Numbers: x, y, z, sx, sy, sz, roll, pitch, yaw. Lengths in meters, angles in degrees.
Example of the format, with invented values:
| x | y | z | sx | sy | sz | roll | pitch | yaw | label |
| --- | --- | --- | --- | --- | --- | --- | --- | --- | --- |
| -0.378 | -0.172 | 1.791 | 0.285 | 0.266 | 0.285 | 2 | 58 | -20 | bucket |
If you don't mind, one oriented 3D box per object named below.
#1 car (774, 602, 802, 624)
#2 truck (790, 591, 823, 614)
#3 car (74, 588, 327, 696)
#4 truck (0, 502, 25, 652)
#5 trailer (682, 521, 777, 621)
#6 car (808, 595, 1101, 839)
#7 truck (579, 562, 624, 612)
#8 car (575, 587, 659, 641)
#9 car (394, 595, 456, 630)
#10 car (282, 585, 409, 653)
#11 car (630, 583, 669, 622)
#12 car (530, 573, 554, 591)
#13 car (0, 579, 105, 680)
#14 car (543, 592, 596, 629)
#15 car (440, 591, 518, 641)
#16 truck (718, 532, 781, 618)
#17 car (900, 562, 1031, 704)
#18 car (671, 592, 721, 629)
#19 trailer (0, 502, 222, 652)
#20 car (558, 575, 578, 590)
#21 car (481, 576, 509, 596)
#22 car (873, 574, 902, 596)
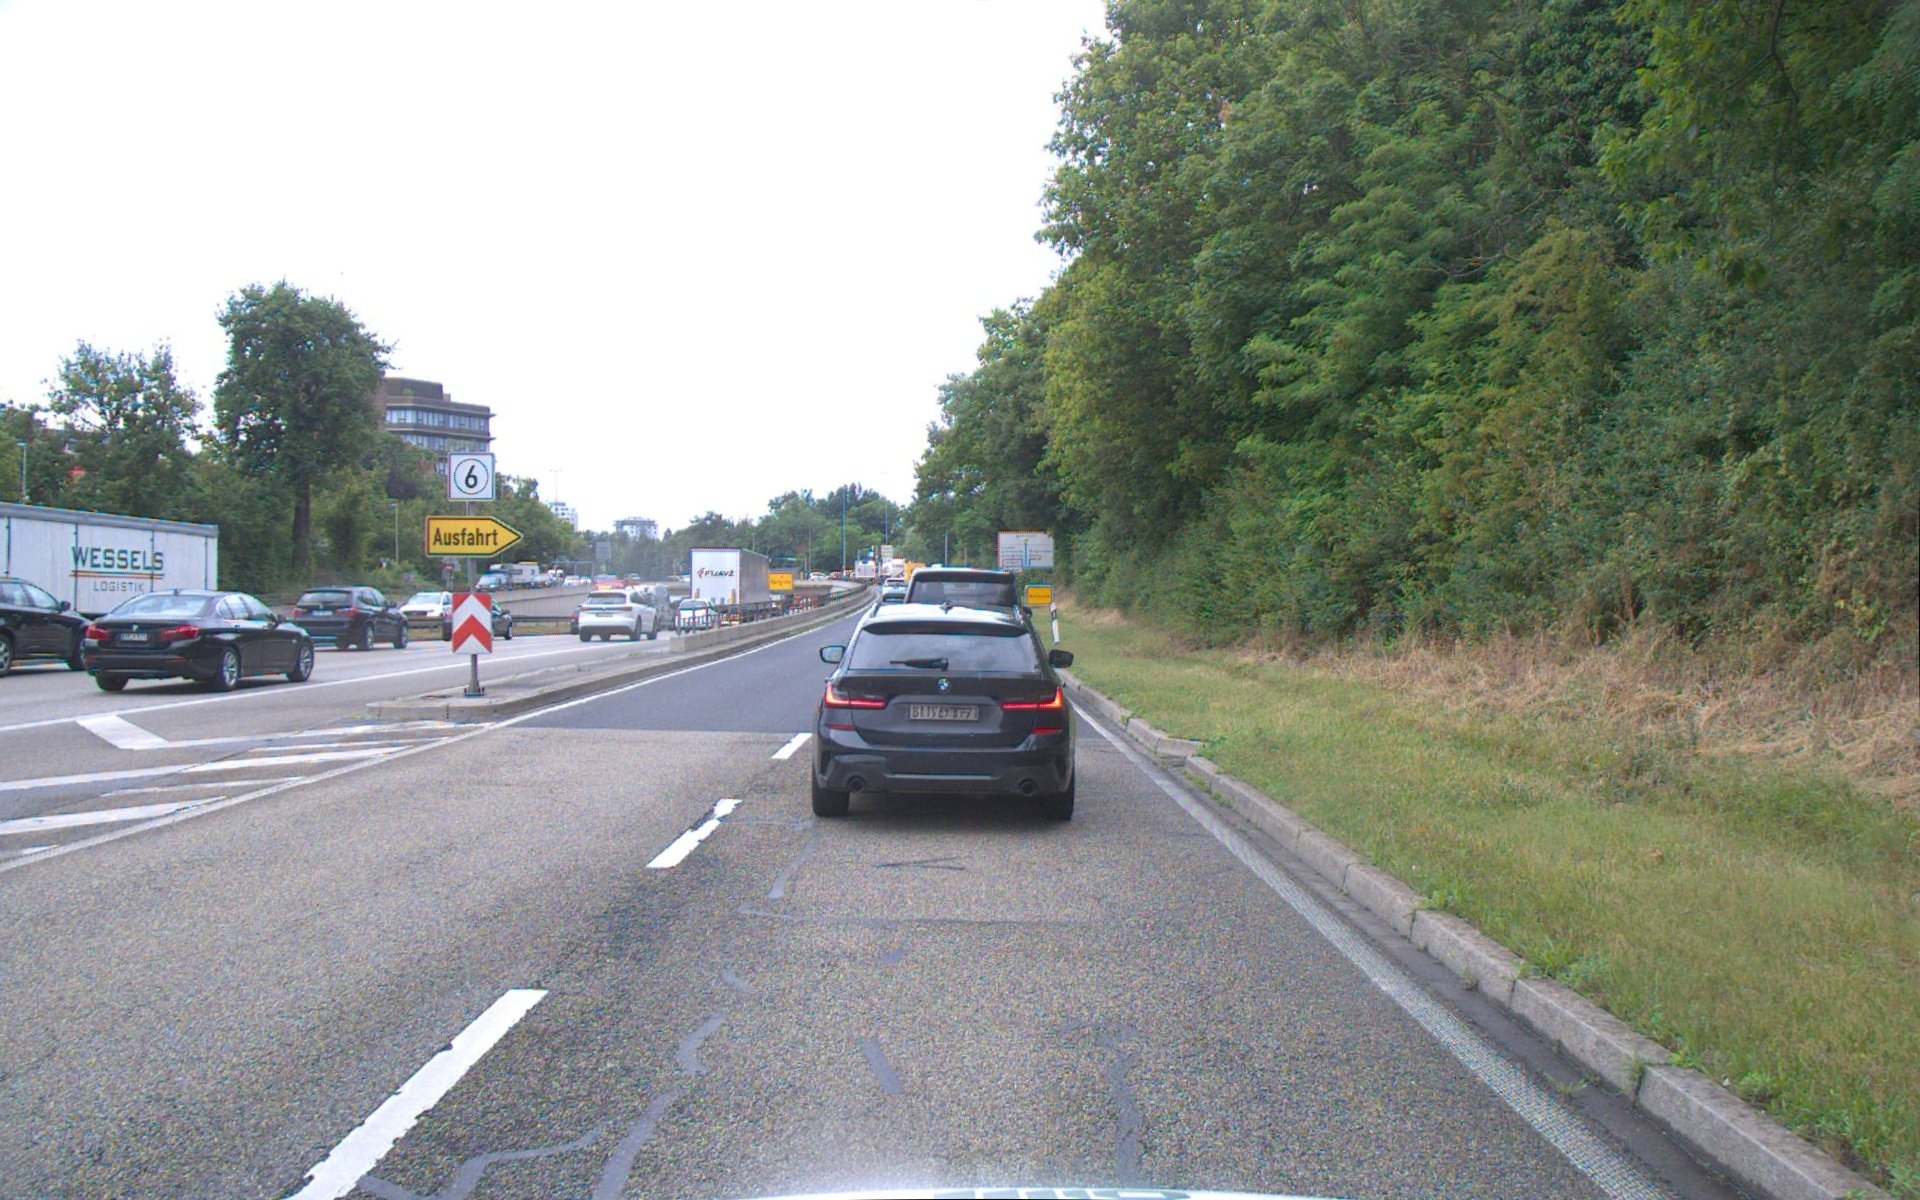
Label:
| x | y | z | sx | sy | sz | roll | pitch | yaw | label |
| --- | --- | --- | --- | --- | --- | --- | --- | --- | --- |
| -12.163 | 0.912 | 116.923 | 1.667 | 1.555 | 3.469 | 0 | 0 | -1 | car |
| -17.660 | 0.261 | 190.356 | 3.207 | 2.553 | 7.659 | 0 | 0 | -1 | truck |
| -11.418 | 0.570 | 25.248 | 1.677 | 1.482 | 4.666 | 1 | 0 | 0 | car |
| -27.202 | -0.619 | 43.886 | 2.543 | 4.060 | 3.999 | 0 | 0 | -1 | truck |
| -11.991 | -1.400 | 87.670 | 3.069 | 4.807 | 14.556 | 1 | 0 | -1 | trailer |
| -0.101 | 0.723 | 12.255 | 1.809 | 1.492 | 3.998 | 1 | 0 | -2 | car |
| -29.690 | -1.062 | 137.078 | 2.706 | 4.136 | 4.906 | 0 | 0 | -1 | truck |
| -11.495 | 0.443 | 55.695 | 1.906 | 1.721 | 4.507 | 0 | 0 | 0 | car |
| -23.744 | 0.547 | 73.491 | 1.643 | 1.504 | 3.707 | 0 | 0 | -2 | car |
| -16.213 | 0.463 | 43.873 | 1.852 | 1.711 | 4.305 | 0 | 0 | -2 | car |
| -16.886 | 0.105 | 90.098 | 1.414 | 2.080 | 3.680 | 0 | 0 | 0 | car |
| -39.017 | -1.669 | 154.346 | 1.408 | 1.614 | 3.243 | 0 | 0 | -1 | car |
| -16.603 | 0.470 | 28.301 | 1.716 | 1.664 | 4.266 | 1 | 0 | 0 | car |
| -18.102 | 0.465 | 76.807 | 1.653 | 1.660 | 3.733 | 1 | 0 | -2 | car |
| -16.850 | 0.537 | 58.116 | 1.653 | 1.636 | 4.007 | 1 | 0 | -2 | car |
| -12.057 | -1.401 | 95.174 | 3.021 | 4.780 | 4.231 | 1 | 0 | -1 | truck |
| 0.066 | 0.439 | 24.399 | 1.759 | 1.904 | 4.000 | 1 | 0 | 0 | car |
| -11.482 | 0.447 | 72.066 | 1.733 | 1.577 | 3.491 | 0 | 0 | -2 | car |
| -27.325 | -0.654 | 51.691 | 2.541 | 4.052 | 13.780 | 0 | 0 | -1 | trailer |
| -40.556 | -1.784 | 171.190 | 1.409 | 1.471 | 3.242 | 0 | 0 | -3 | car |
| -37.695 | -1.161 | 134.029 | 1.408 | 1.601 | 3.243 | 0 | 0 | -1 | car |
| -5.275 | -1.078 | 120.537 | 1.891 | 1.624 | 3.877 | 0 | 0 | 1 | car |
